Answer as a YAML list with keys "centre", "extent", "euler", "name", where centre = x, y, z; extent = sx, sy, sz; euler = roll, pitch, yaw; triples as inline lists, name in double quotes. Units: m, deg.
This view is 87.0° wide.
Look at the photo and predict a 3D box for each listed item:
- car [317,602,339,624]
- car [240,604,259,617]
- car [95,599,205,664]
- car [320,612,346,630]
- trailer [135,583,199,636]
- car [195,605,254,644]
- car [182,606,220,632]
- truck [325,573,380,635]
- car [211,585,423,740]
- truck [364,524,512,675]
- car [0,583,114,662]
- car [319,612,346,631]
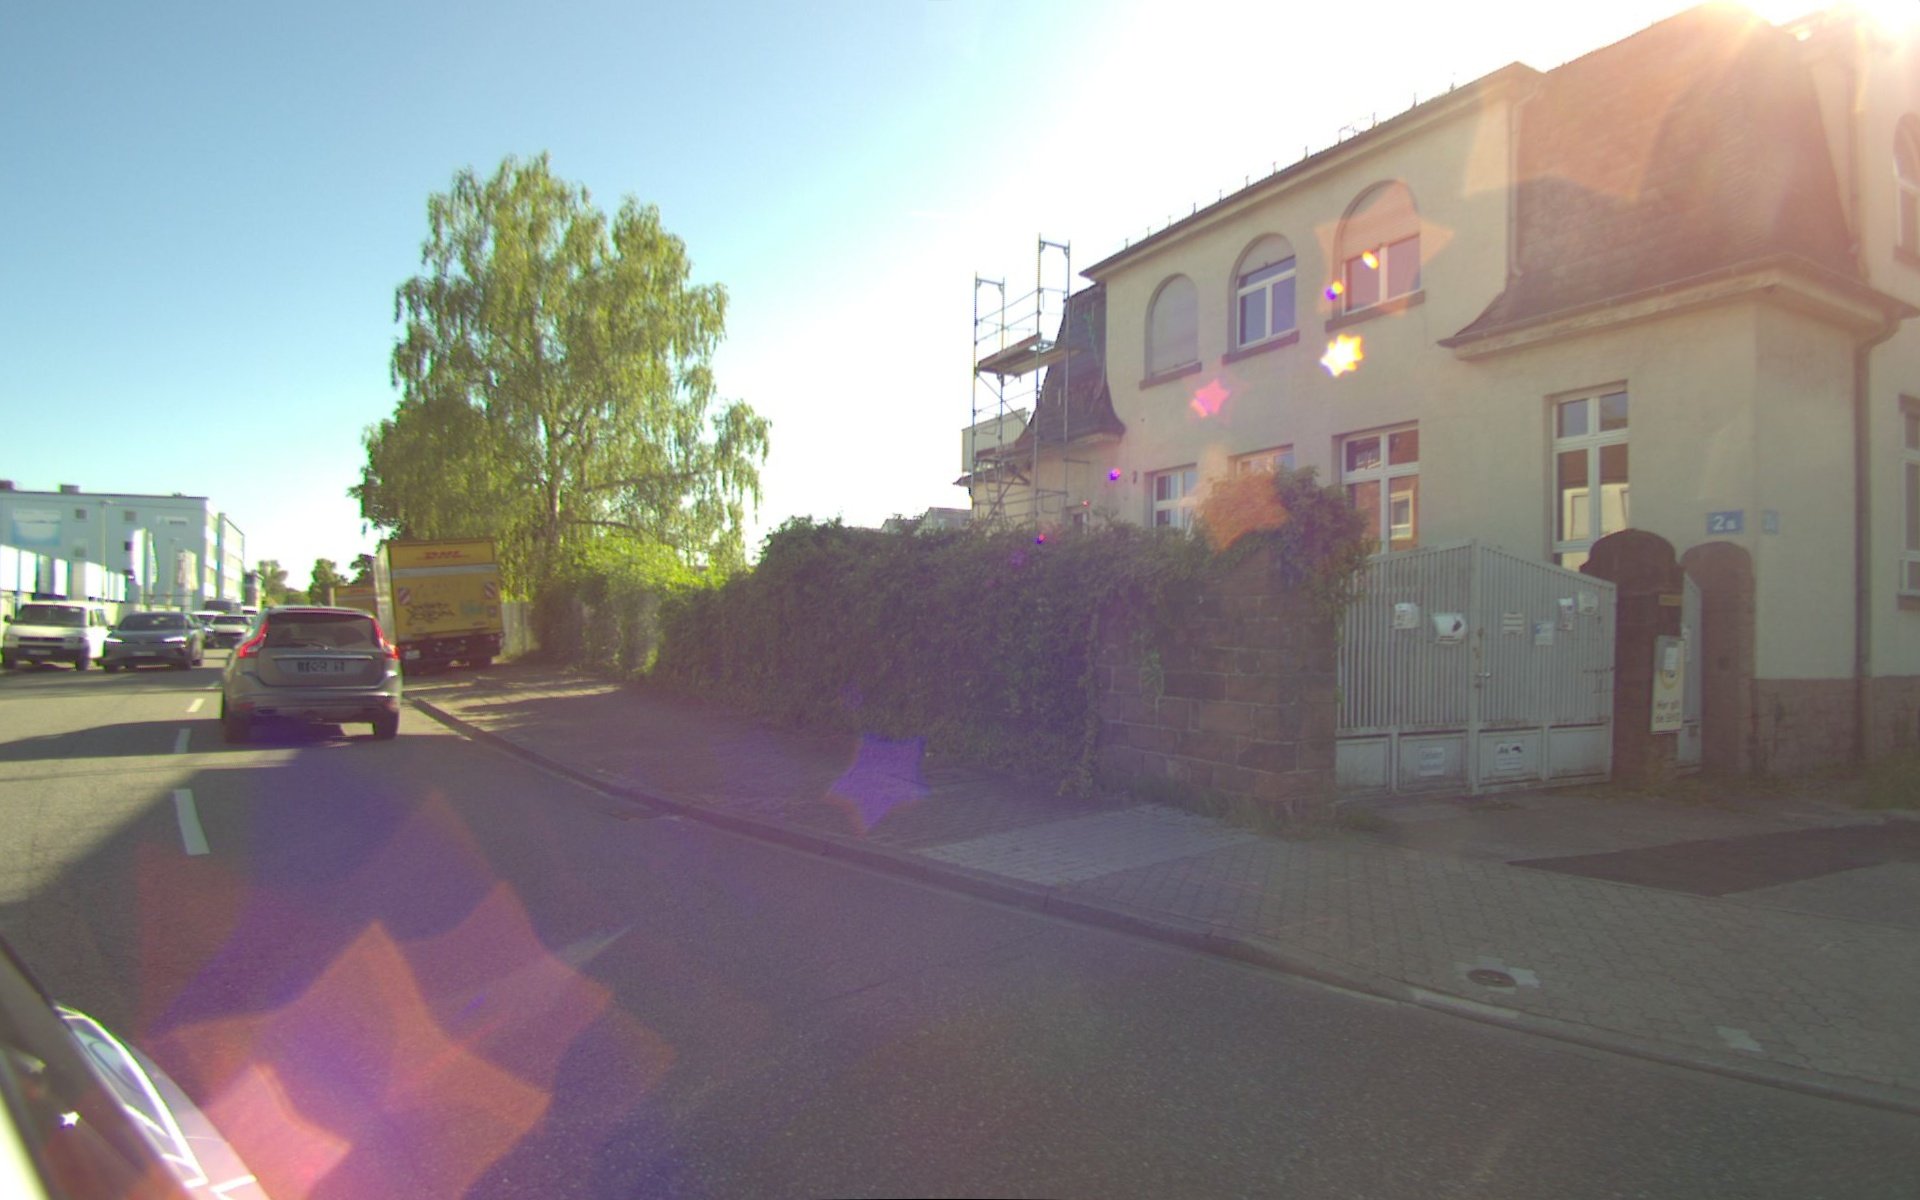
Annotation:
- centre: [-90.042, 1.854, 144.169]
  extent: [2.139, 3.014, 6.356]
  euler: [2, -2, -37]
  name: "car"
- centre: [-93.282, 1.420, 132.942]
  extent: [1.820, 1.643, 4.307]
  euler: [2, -2, -33]
  name: "car"
- centre: [-22.217, 0.852, 27.916]
  extent: [1.820, 1.643, 4.307]
  euler: [2, -2, -32]
  name: "car"
- centre: [-60.420, 2.022, 97.529]
  extent: [1.821, 1.643, 4.306]
  euler: [2, -2, -35]
  name: "car"
- centre: [-43.069, 0.561, 55.048]
  extent: [2.126, 2.738, 4.209]
  euler: [2, -2, -31]
  name: "trailer"
- centre: [-33.445, 1.110, 46.104]
  extent: [1.820, 1.643, 4.307]
  euler: [2, -2, -32]
  name: "car"
- centre: [-52.674, 1.303, 70.300]
  extent: [1.820, 1.718, 4.307]
  euler: [2, -2, -33]
  name: "car"
- centre: [-39.666, 0.320, 65.975]
  extent: [2.751, 3.786, 7.919]
  euler: [2, -2, -33]
  name: "truck"
- centre: [-8.763, 0.772, 13.595]
  extent: [1.967, 1.708, 4.575]
  euler: [4, -3, -37]
  name: "car"
- centre: [-15.194, -0.011, 29.073]
  extent: [2.803, 3.646, 8.029]
  euler: [-4, 2, -33]
  name: "truck"
- centre: [-26.008, 0.630, 29.124]
  extent: [1.820, 2.029, 4.728]
  euler: [-3, 1, -32]
  name: "car"
- centre: [-56.876, 1.933, 91.694]
  extent: [1.821, 1.643, 4.306]
  euler: [2, -2, -35]
  name: "car"
